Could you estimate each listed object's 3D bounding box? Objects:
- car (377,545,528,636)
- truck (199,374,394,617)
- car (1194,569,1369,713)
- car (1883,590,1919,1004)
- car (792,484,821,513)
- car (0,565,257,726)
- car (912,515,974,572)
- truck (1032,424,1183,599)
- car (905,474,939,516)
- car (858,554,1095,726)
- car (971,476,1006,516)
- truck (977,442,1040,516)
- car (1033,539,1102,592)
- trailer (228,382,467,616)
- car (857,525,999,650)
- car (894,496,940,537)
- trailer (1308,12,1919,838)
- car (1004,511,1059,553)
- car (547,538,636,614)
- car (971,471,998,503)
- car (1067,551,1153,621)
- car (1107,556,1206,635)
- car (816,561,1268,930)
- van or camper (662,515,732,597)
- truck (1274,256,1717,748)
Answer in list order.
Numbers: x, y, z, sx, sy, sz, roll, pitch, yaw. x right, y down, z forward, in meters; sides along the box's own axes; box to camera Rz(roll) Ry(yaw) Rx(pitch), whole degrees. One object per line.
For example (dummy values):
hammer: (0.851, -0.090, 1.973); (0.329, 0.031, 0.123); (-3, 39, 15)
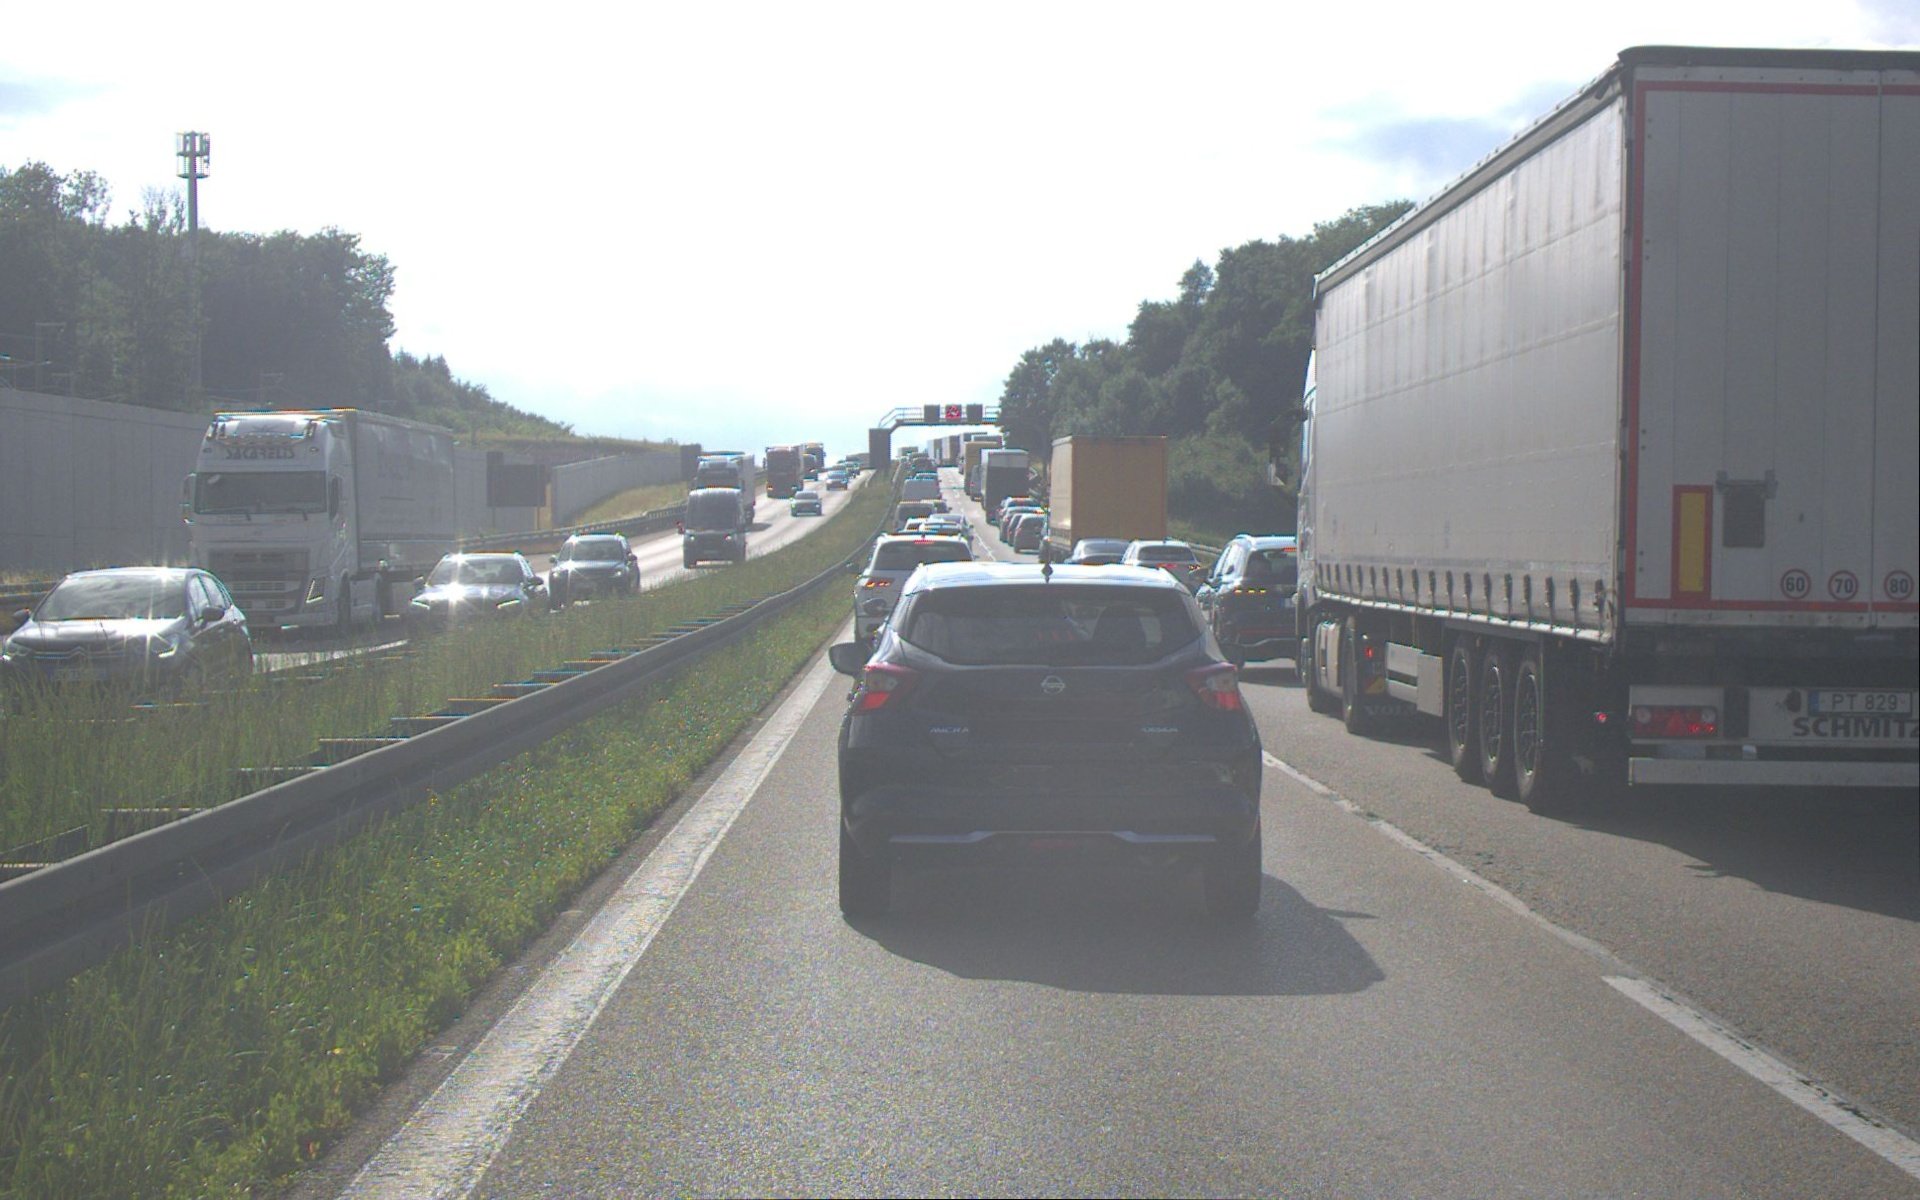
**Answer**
car: (-7.835, -0.167, 53.420); (1.742, 1.353, 4.232); (0, 1, 0)
truck: (-11.920, -1.823, 62.191); (2.380, 4.167, 5.932); (-1, 0, -1)
car: (3.751, 0.442, 40.723); (1.697, 1.605, 4.437); (0, 1, 1)
car: (4.207, 0.696, 9.797); (1.788, 1.389, 4.437); (0, 1, -2)
car: (-9.732, -6.465, 218.582); (1.744, 1.700, 4.232); (-2, 1, -2)
car: (-8.128, 0.409, 33.449); (1.769, 1.474, 3.829); (0, 0, 0)
car: (-0.521, -1.750, 104.989); (1.873, 1.638, 4.233); (0, 2, 0)
truck: (4.027, -2.341, 96.980); (3.296, 4.562, 12.441); (1, 0, -2)
car: (-2.086, -5.761, 188.624); (1.873, 2.151, 5.212); (0, 3, -1)
car: (0.119, 0.296, 29.329); (1.873, 1.353, 4.232); (0, 1, 0)
car: (1.605, -5.971, 196.579); (1.873, 2.151, 5.212); (0, 3, -1)
truck: (3.095, -7.796, 221.964); (3.464, 4.561, 12.443); (1, 2, -2)
car: (3.357, -1.102, 108.342); (1.873, 1.638, 4.233); (0, 1, -2)
trailer: (-11.952, -1.874, 68.378); (2.389, 4.168, 13.204); (-1, 0, 0)
car: (-0.430, -0.185, 47.647); (1.873, 1.638, 4.232); (0, 1, 0)
car: (-1.808, -3.528, 144.214); (1.873, 1.638, 4.233); (0, 2, -2)
trailer: (4.621, -0.811, 23.385); (3.130, 3.997, 13.366); (1, 0, 0)
car: (2.897, -2.777, 139.290); (1.873, 1.638, 4.233); (0, 2, -4)
car: (-8.453, -0.549, 79.122); (1.708, 1.700, 4.174); (0, 0, -1)
car: (1.795, -8.262, 251.284); (1.873, 2.151, 5.212); (0, 3, -1)
car: (3.643, -0.362, 84.072); (1.873, 1.638, 4.232); (0, 1, 0)
car: (4.200, -0.110, 73.951); (1.873, 1.638, 4.232); (0, 1, 0)
car: (0.313, 0.554, 15.635); (1.773, 1.446, 4.232); (0, 1, 0)
van or camper: (-9.388, -1.544, 123.241); (2.090, 2.810, 5.895); (1, 0, -1)
truck: (4.629, -0.794, 30.781); (3.133, 4.002, 5.163); (1, 0, 0)
